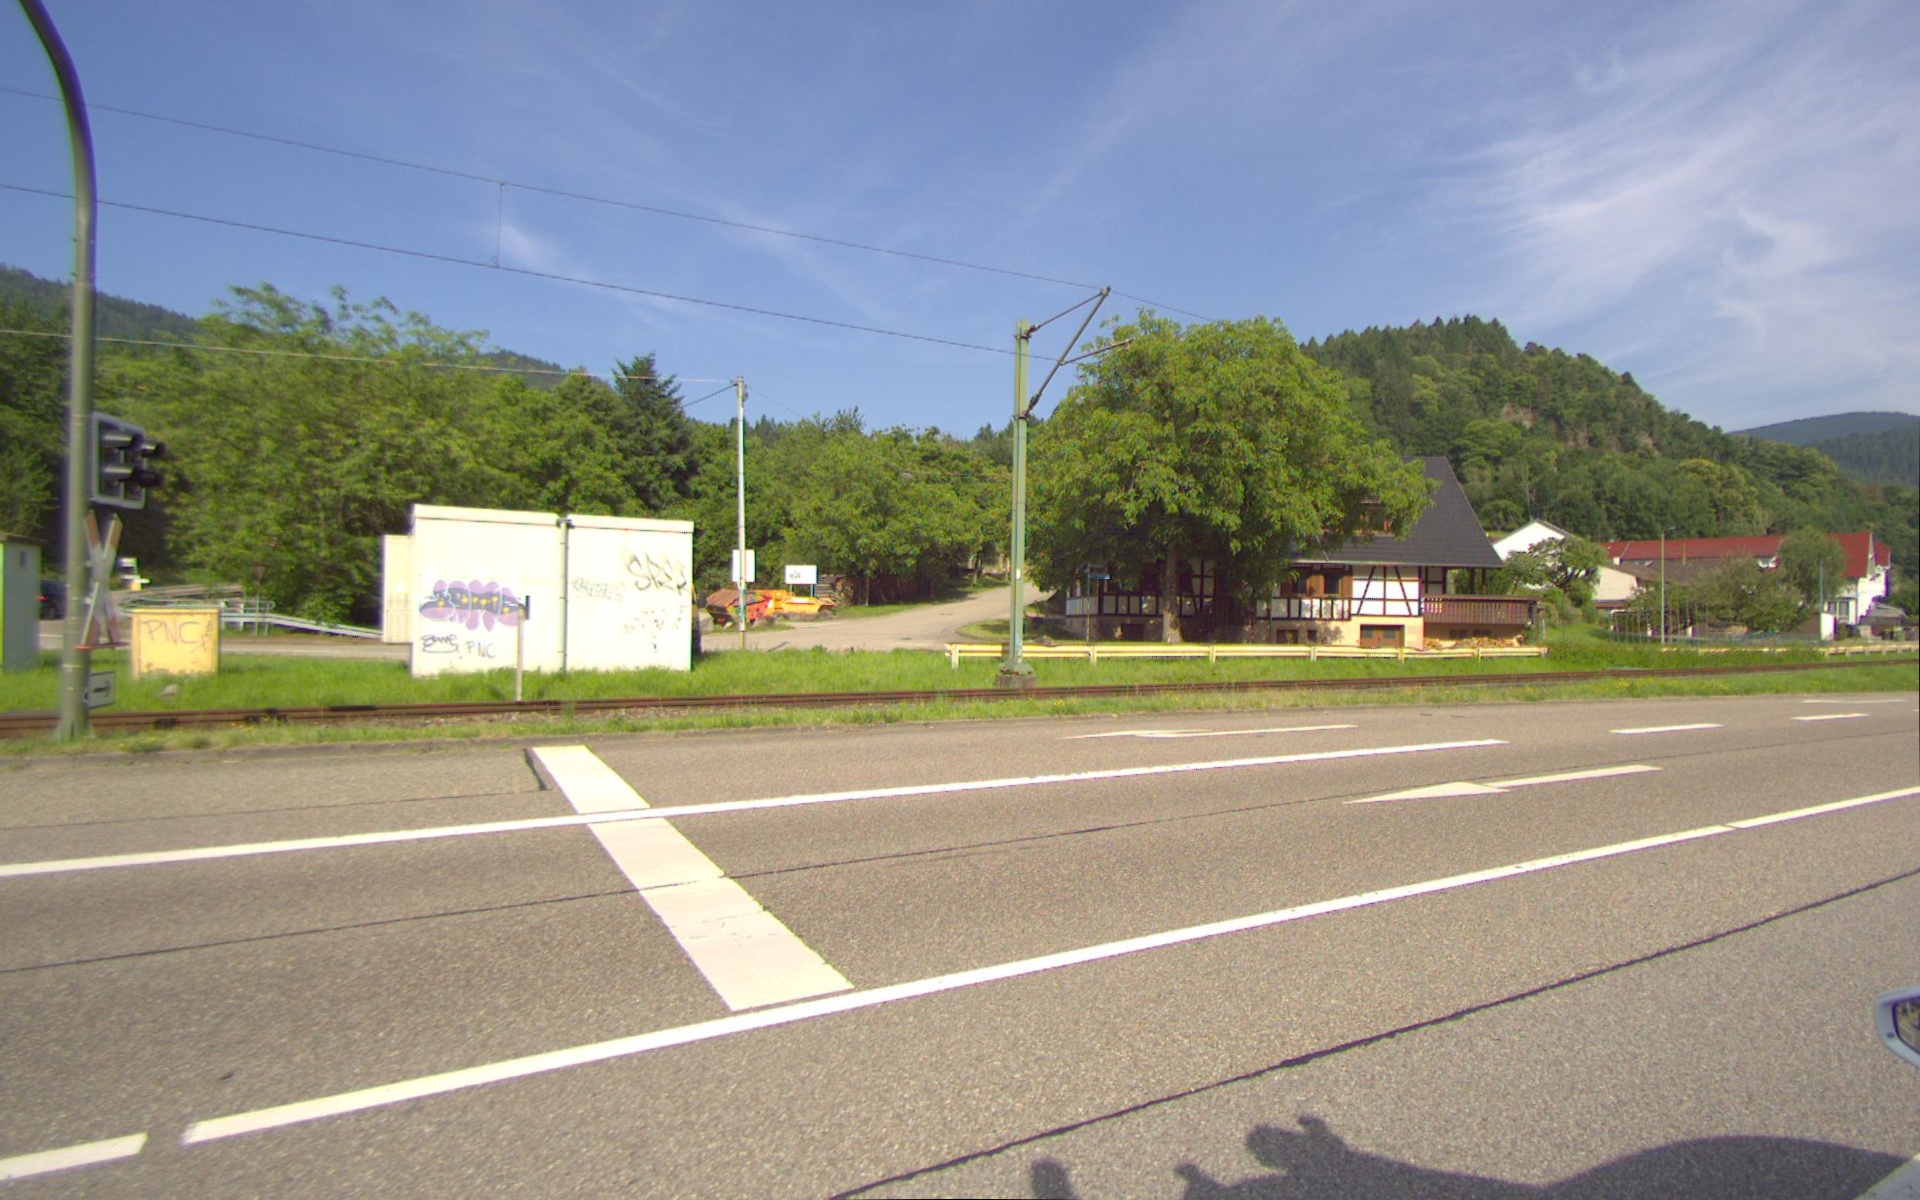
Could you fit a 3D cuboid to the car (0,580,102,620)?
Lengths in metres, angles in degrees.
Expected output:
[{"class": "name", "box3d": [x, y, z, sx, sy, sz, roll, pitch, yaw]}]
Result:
[{"class": "car", "box3d": [-37.953, 0.015, 41.887, 1.920, 1.550, 3.983, 1, -1, -19]}]

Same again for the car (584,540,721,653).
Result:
[{"class": "car", "box3d": [-8.080, -0.075, 25.863, 2.904, 2.489, 7.054, 1, 0, -20]}]

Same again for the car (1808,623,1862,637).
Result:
[{"class": "car", "box3d": [91.325, 3.140, 104.903, 1.723, 1.287, 4.059, 1, -1, -41]}]
